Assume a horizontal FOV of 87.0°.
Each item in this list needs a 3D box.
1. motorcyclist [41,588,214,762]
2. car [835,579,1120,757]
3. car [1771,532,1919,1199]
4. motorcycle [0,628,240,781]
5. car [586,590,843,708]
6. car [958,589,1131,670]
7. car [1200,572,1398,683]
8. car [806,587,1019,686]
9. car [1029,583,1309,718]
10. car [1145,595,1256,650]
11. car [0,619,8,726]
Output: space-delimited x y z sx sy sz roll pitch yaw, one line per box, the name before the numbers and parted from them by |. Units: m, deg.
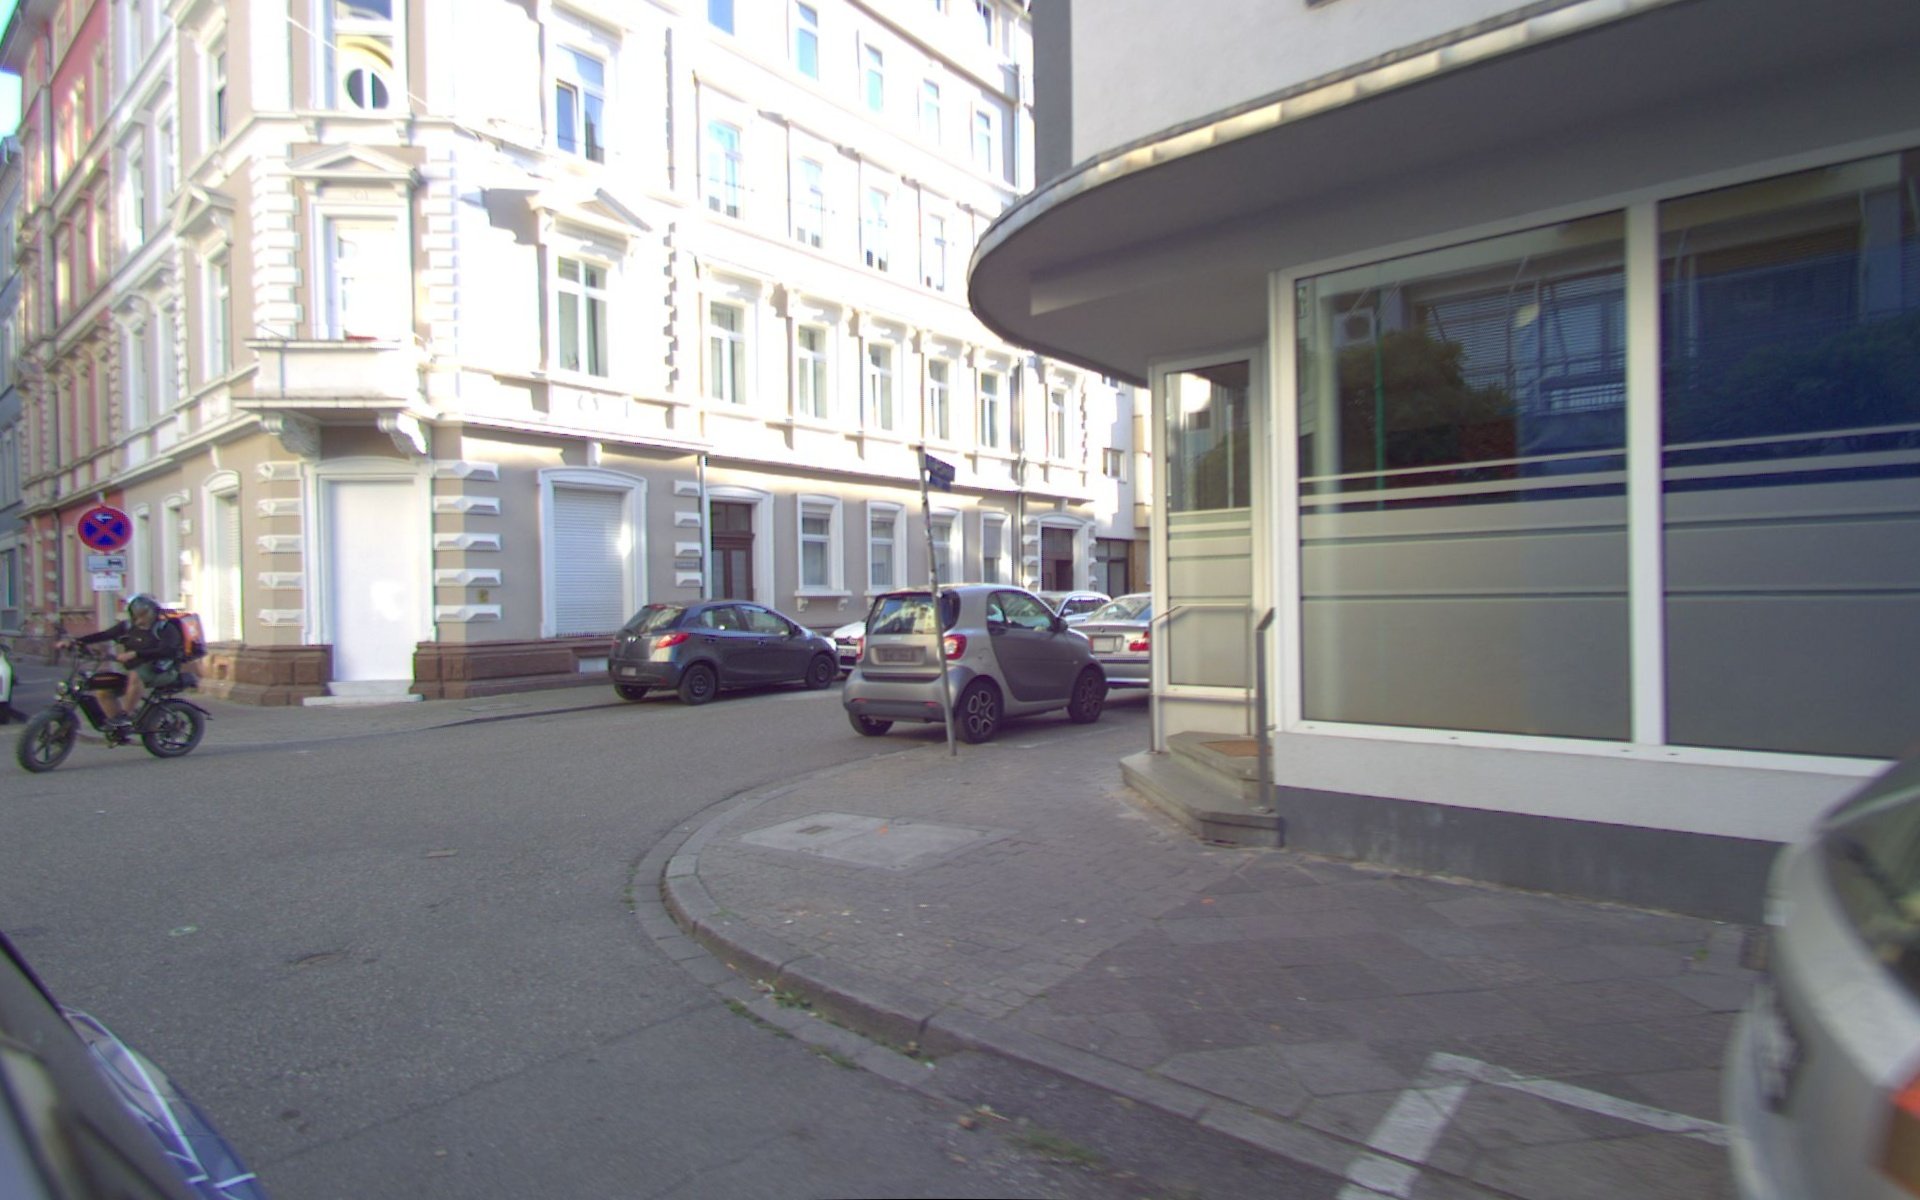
motorcyclist | -8.180 0.707 9.969 0.870 1.579 0.990 -4 0 28
car | 0.259 0.604 10.695 1.647 1.577 2.727 -1 1 40
car | 2.744 0.613 0.541 3.550 1.441 1.616 -1 0 38
motorcycle | -8.201 0.967 9.878 0.803 1.259 1.682 -4 0 28
car | -3.578 0.641 15.253 1.683 1.490 3.548 -1 1 34
car | 1.994 0.603 22.755 2.006 1.572 4.042 -1 1 37
car | 5.954 0.385 17.484 1.997 1.666 4.041 -1 1 38
car | -0.783 0.603 18.983 1.832 1.572 4.043 -1 1 37
car | 2.949 0.557 13.611 1.966 1.464 4.208 -1 1 39
car | 6.962 0.612 29.106 1.832 1.413 3.551 -1 1 37
car | -15.546 1.016 15.021 3.843 1.507 1.666 -1 -3 42
